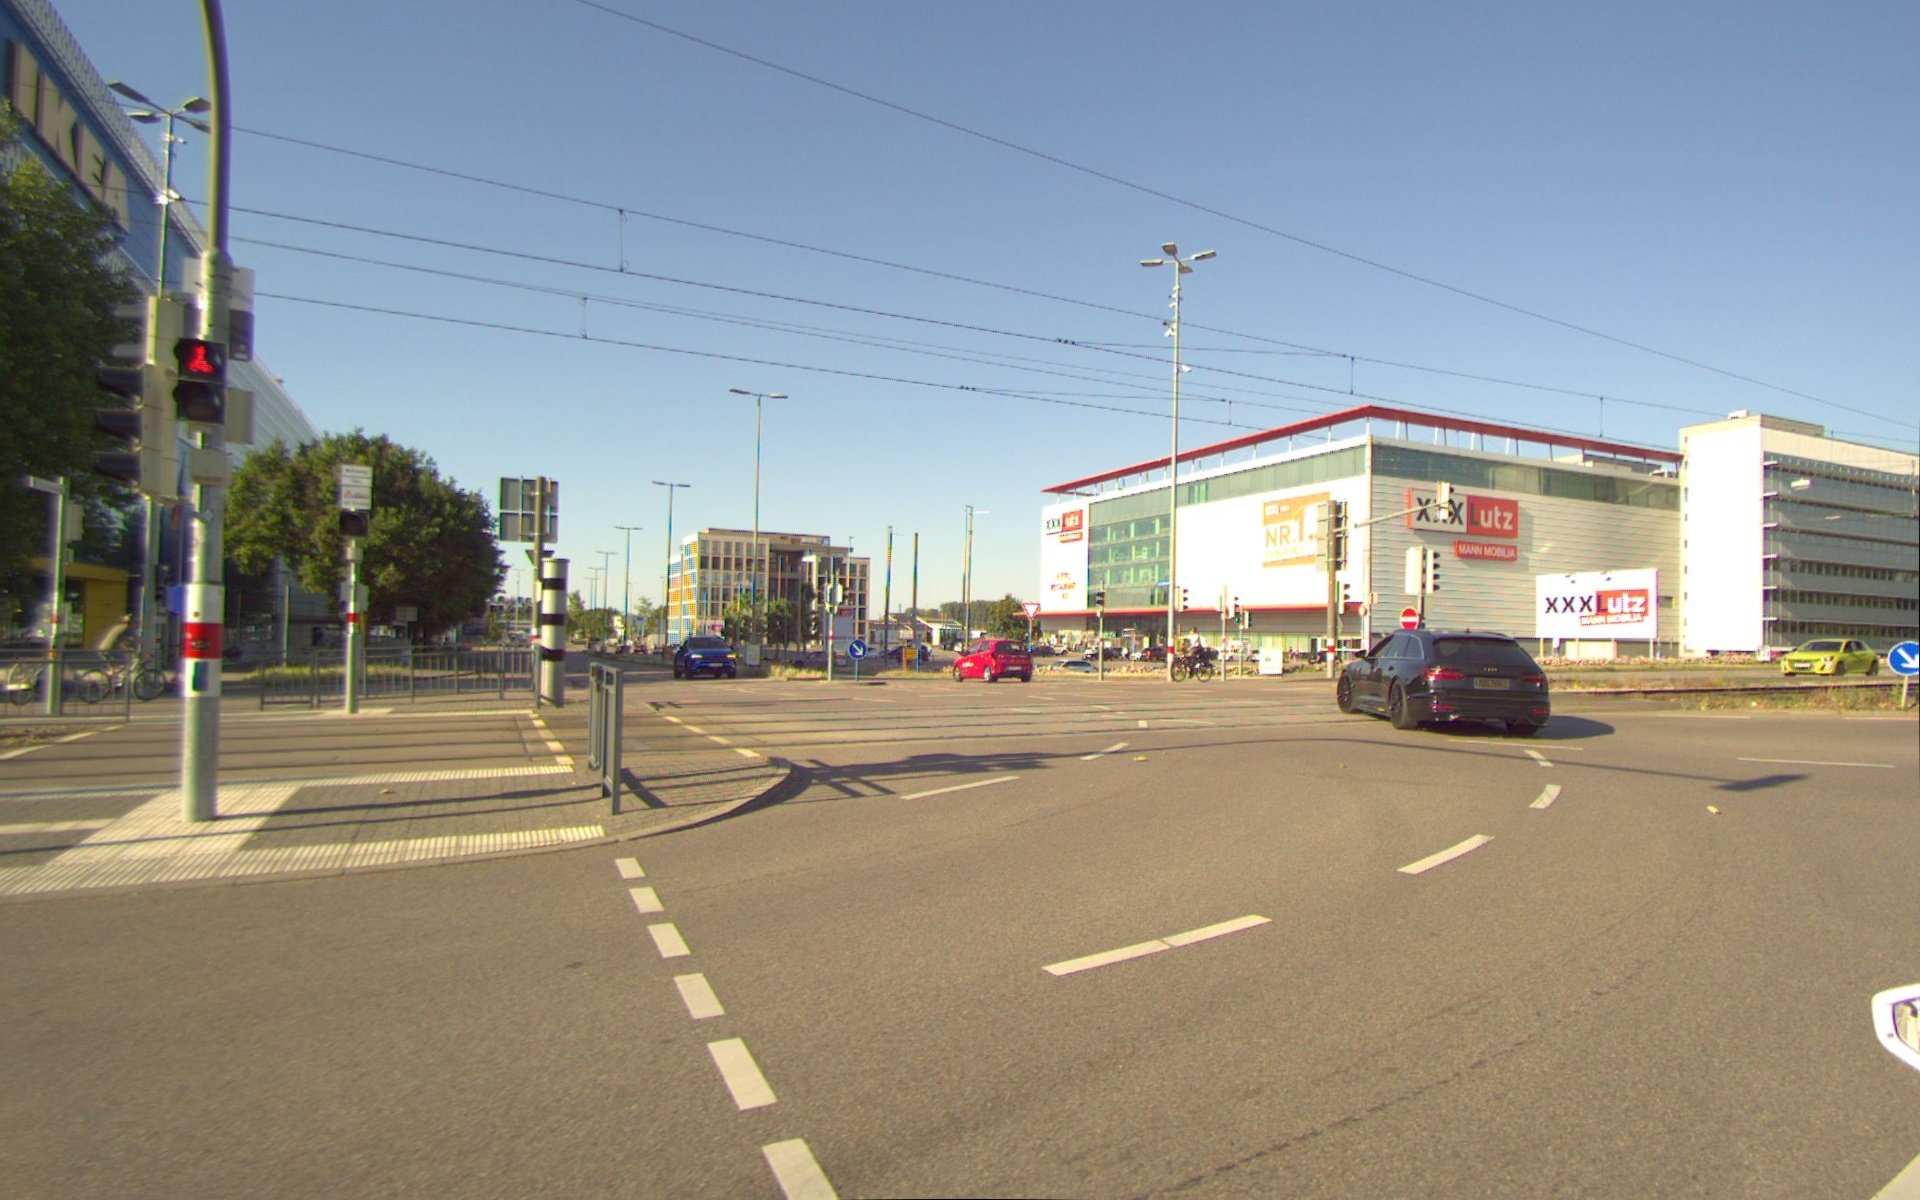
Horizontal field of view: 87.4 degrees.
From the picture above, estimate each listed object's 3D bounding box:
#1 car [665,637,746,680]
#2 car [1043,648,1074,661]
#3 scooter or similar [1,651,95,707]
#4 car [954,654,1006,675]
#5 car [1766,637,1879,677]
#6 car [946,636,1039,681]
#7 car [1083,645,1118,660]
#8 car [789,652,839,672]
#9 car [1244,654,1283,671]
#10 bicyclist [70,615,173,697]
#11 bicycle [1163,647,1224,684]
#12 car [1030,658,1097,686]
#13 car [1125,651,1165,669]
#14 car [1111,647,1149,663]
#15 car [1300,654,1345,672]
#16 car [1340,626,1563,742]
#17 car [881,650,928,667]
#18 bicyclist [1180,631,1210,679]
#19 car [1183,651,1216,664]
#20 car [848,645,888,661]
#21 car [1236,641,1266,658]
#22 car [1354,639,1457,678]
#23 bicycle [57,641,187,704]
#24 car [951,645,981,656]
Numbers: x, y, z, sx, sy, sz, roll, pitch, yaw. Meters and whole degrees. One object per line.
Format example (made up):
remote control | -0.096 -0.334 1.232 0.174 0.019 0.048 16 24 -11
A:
car | -9.686 2.252 38.037 1.991 1.517 4.229 2 -5 -28
car | 13.376 7.375 136.509 3.957 1.640 1.862 1 1 -33
scooter or similar | -17.596 1.509 19.409 0.773 1.028 1.067 1 -3 1
car | 1.661 5.407 84.397 3.953 1.614 1.920 1 1 -30
car | 32.594 2.143 37.966 4.054 1.466 1.778 1 -3 -26
car | 1.077 2.066 34.786 1.749 1.478 3.562 2 -5 -27
car | 17.351 6.443 124.092 3.953 1.640 1.864 1 1 -30
car | -12.962 5.485 89.241 4.165 1.589 1.908 1 1 -2
car | 33.658 6.946 111.268 3.949 1.725 1.913 1 1 -28
bicyclist | -17.514 1.173 21.028 0.806 1.638 1.487 1 -3 1
bicycle | 7.823 2.193 33.656 1.961 1.183 0.587 1 1 -20
car | 7.323 5.061 70.885 4.367 1.733 1.983 1 1 -31
car | 20.579 6.623 111.724 3.949 1.838 1.986 1 1 -28
car | 19.617 6.293 115.937 3.949 1.725 1.966 1 1 -28
car | 37.280 6.451 103.350 4.392 1.725 1.913 1 1 -28
car | 7.200 1.173 15.203 1.882 1.477 4.094 0 -2 8
car | -5.581 5.895 100.766 4.376 1.573 1.663 1 1 -23
bicyclist | 7.876 1.841 33.668 0.739 1.543 0.587 1 1 -19
car | 28.732 6.849 120.425 3.616 1.387 1.649 1 1 -25
car | -9.852 5.678 108.016 3.947 1.677 1.791 1 -2 -26
car | 35.388 6.013 122.075 3.244 1.880 1.501 1 1 -25
car | 20.022 2.615 45.193 3.930 1.664 1.823 0 -3 -12
bicycle | -17.509 1.497 21.085 0.700 1.234 2.280 1 -3 2
car | 0.914 7.314 146.068 3.945 1.468 1.868 1 1 -25
